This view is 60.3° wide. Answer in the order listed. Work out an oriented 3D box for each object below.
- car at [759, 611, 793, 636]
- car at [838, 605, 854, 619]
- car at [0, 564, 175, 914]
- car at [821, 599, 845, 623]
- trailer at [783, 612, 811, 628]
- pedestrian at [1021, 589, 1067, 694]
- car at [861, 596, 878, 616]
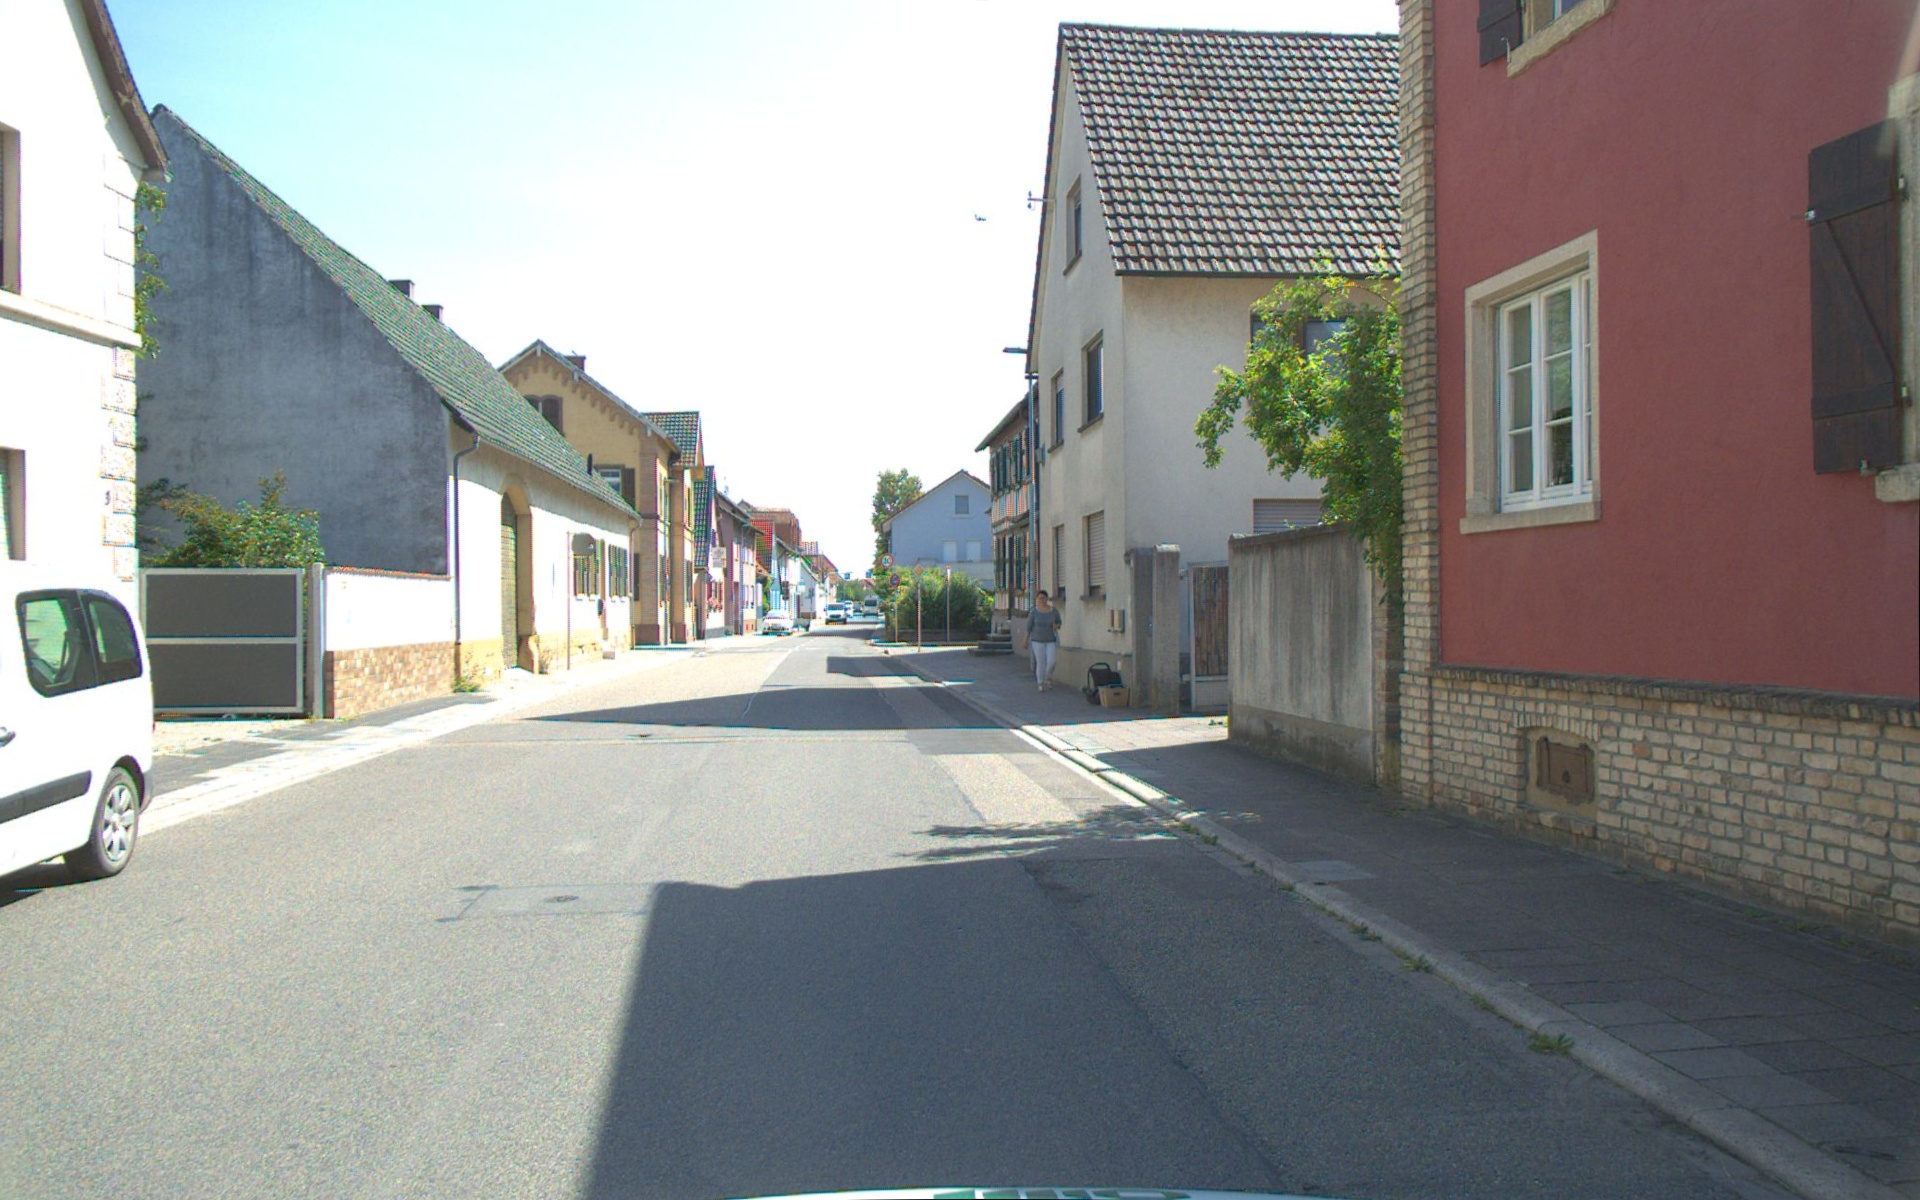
[{"bbox_3d":[-11.391,1.438,102.645,1.954,1.467,3.996,-1,0,-4],"label":"car"},{"bbox_3d":[-14.287,1.490,206.674,1.954,1.780,3.997,0,0,-4],"label":"car"},{"bbox_3d":[-5.516,0.668,7.952,1.820,1.676,4.423,0,0,-7],"label":"car"},{"bbox_3d":[-11.917,1.069,155.031,2.116,2.116,3.995,-1,-2,-6],"label":"car"},{"bbox_3d":[-11.751,1.440,119.192,1.955,1.109,3.994,0,0,-6],"label":"trailer"},{"bbox_3d":[1.374,0.675,27.212,0.704,1.693,0.892,0,0,-1],"label":"pedestrian"},{"bbox_3d":[-11.517,0.767,211.075,1.978,2.613,3.996,-1,0,-5],"label":"car"}]
